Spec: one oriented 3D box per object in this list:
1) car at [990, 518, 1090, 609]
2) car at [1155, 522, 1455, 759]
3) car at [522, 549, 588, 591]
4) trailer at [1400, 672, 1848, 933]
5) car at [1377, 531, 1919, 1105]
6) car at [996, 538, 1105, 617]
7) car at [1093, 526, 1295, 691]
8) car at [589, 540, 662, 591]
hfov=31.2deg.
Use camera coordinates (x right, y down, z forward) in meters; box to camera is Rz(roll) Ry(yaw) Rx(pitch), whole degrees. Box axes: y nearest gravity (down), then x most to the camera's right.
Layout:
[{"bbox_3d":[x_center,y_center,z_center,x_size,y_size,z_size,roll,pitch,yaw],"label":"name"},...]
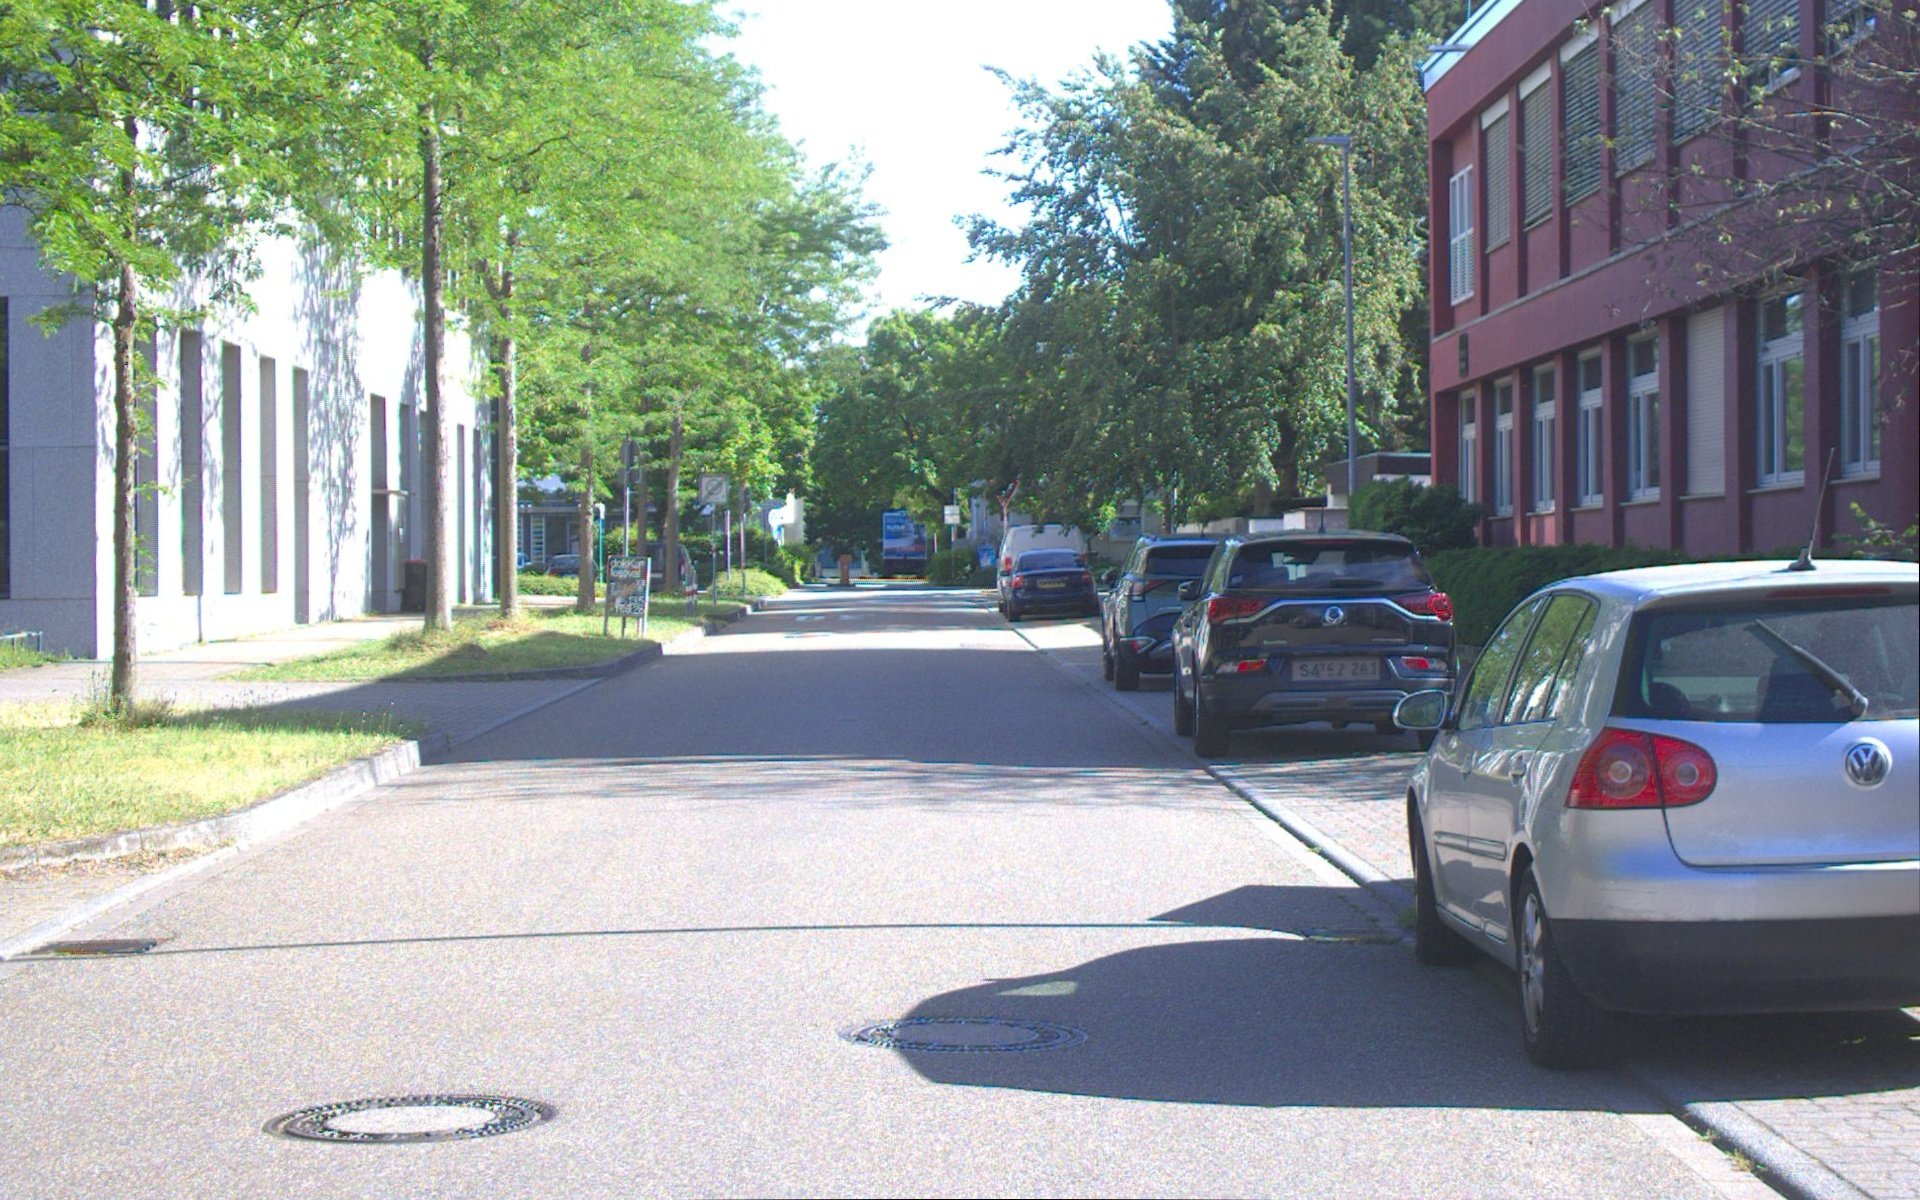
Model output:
[{"bbox_3d":[1.722,-0.816,75.375,1.993,1.828,4.000,-3,1,0],"label":"car"},{"bbox_3d":[2.488,0.240,25.731,1.838,1.628,4.201,0,1,0],"label":"car"},{"bbox_3d":[-13.086,-0.984,111.347,1.905,1.337,3.794,0,1,-3],"label":"car"},{"bbox_3d":[3.044,0.845,15.395,1.373,0.909,2.934,0,1,23],"label":"trailer"},{"bbox_3d":[2.439,0.555,11.288,1.660,1.556,3.935,0,1,0],"label":"car"},{"bbox_3d":[1.800,-0.479,69.596,1.993,1.437,4.000,-3,1,0],"label":"car"},{"bbox_3d":[2.455,0.046,36.899,1.855,1.642,4.000,-1,1,0],"label":"car"},{"bbox_3d":[-9.776,-1.020,100.612,1.993,1.453,3.793,0,1,-3],"label":"car"}]
